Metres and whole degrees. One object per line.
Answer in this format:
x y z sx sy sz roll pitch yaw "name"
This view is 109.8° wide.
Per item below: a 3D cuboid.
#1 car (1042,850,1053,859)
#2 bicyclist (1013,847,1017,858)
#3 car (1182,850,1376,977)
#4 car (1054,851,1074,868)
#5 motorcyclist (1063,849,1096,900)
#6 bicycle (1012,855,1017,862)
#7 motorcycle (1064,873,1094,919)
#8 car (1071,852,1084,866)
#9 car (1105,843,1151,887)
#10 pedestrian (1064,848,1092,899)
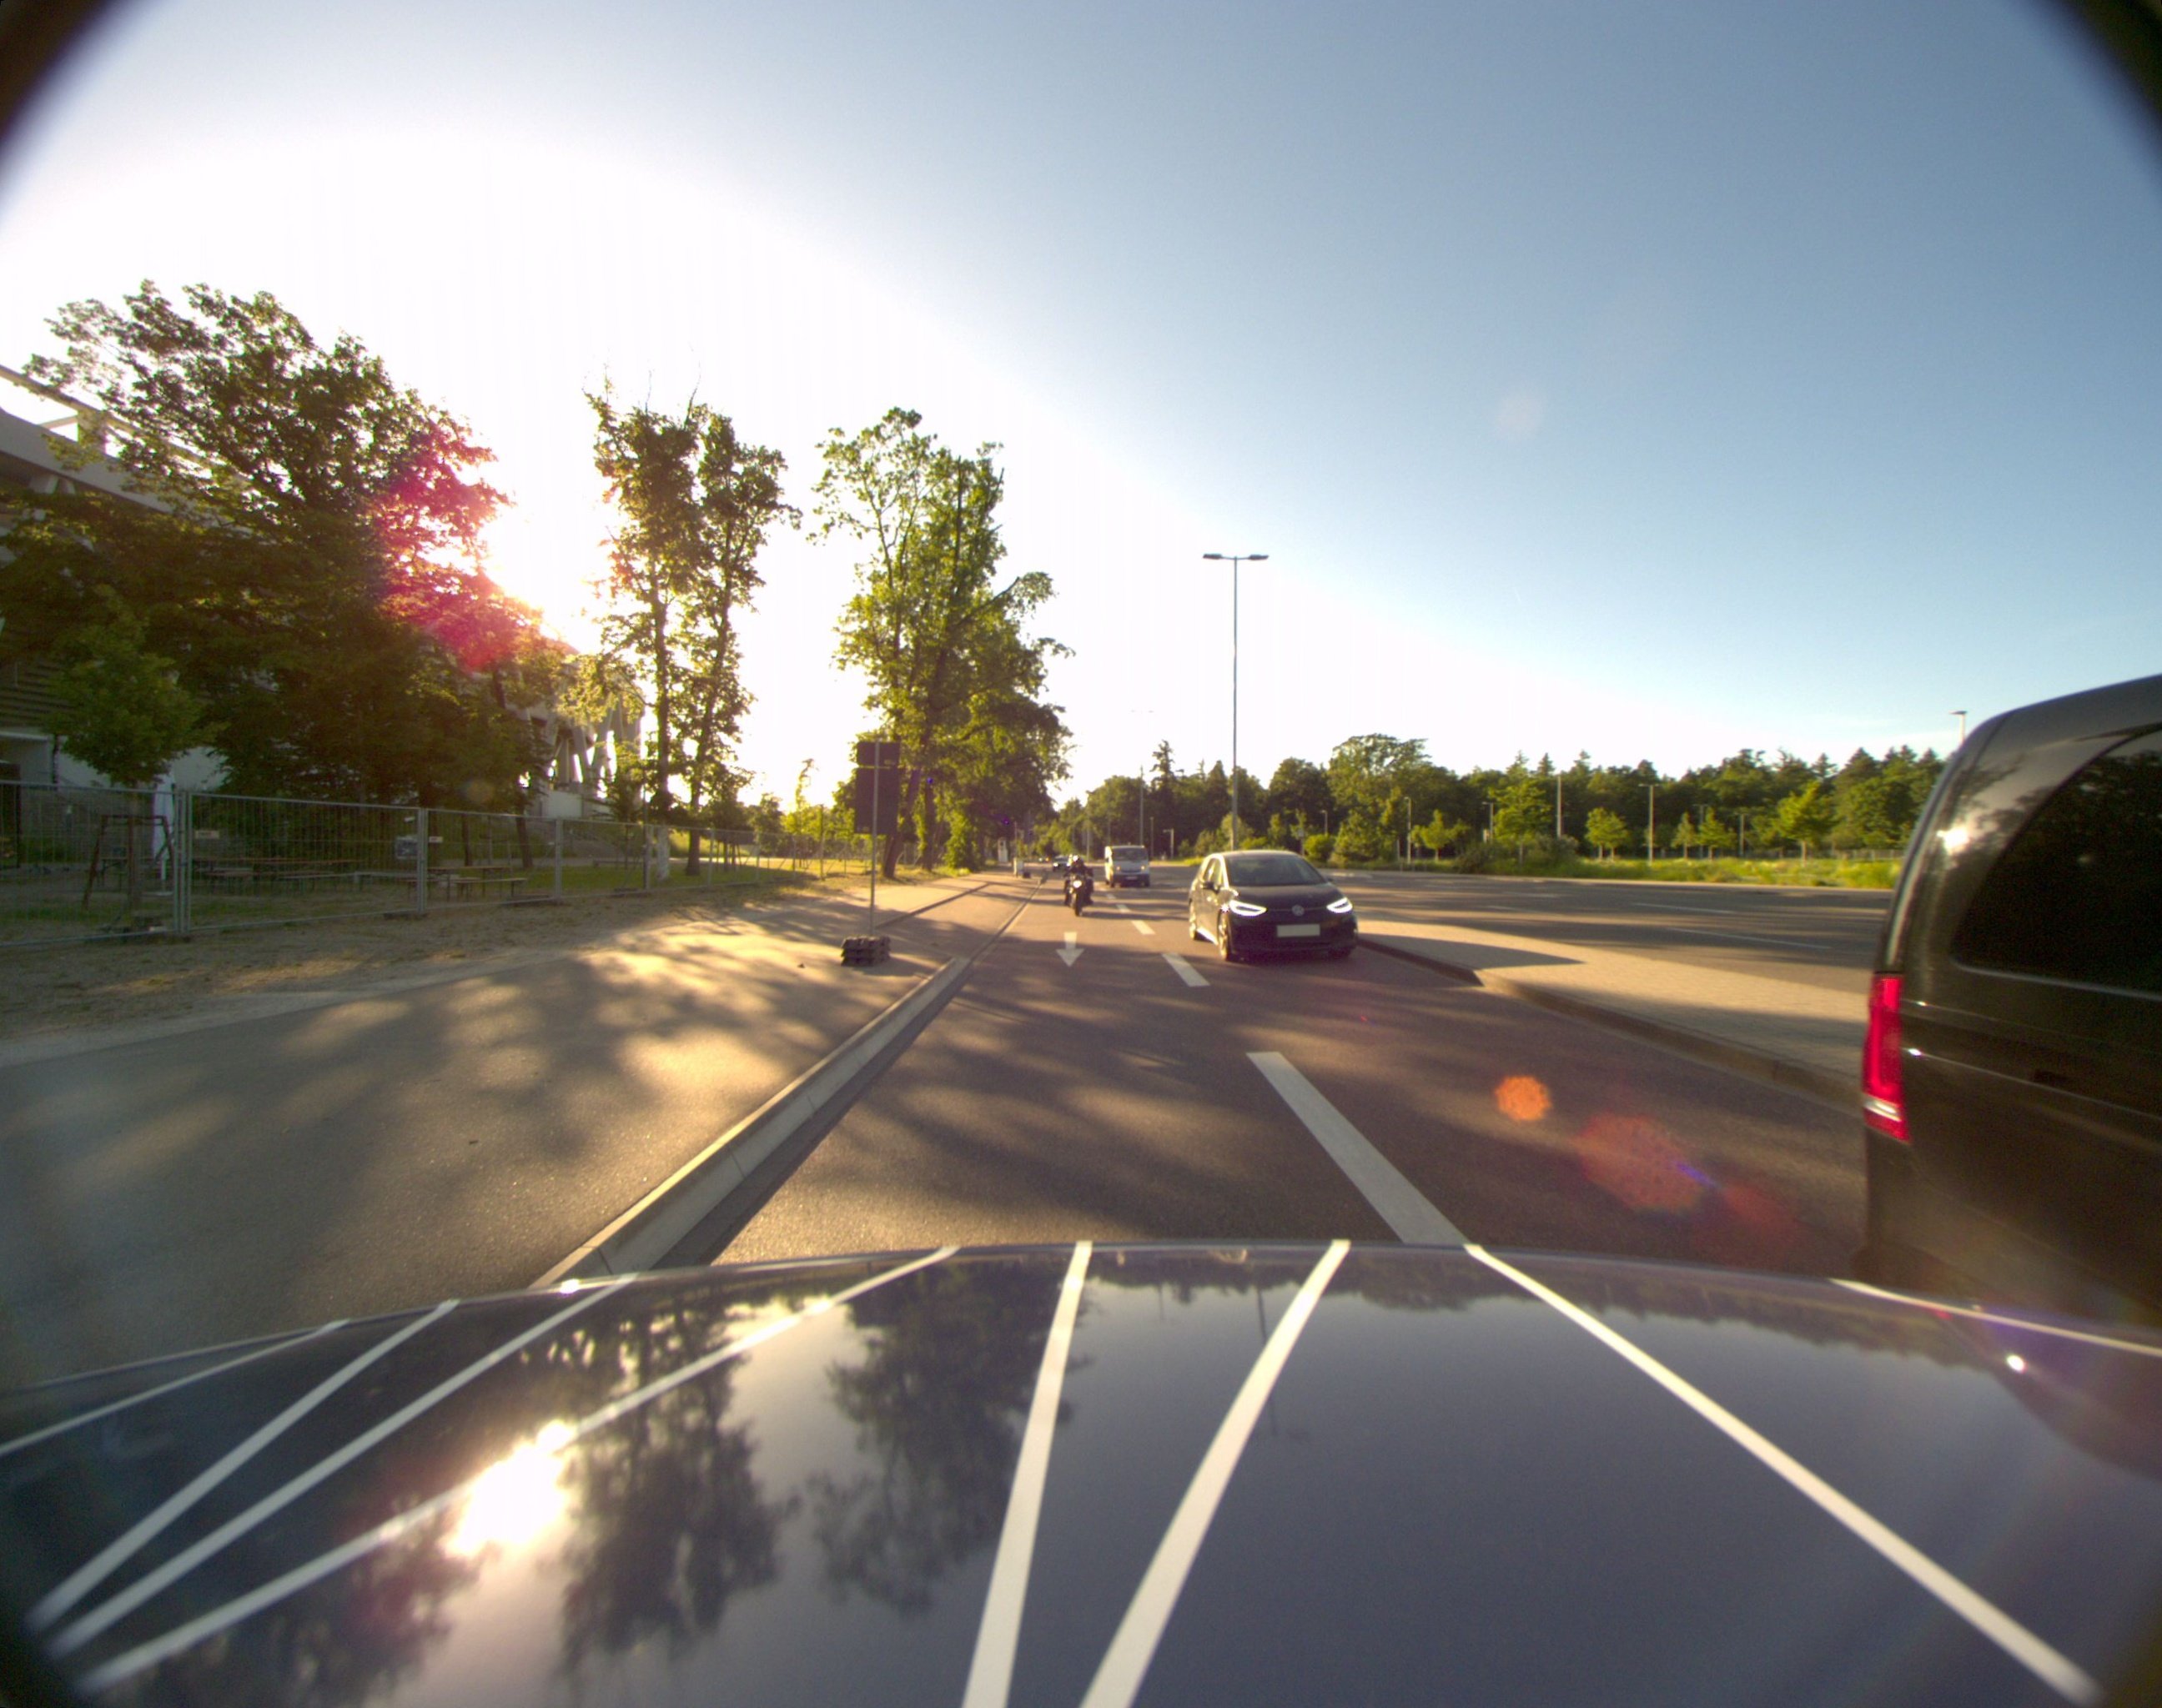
-6.770 0.116 154.281 1.774 1.849 3.999 -2 1 1 "car"
-8.273 -0.216 94.911 0.451 1.412 0.575 0 1 0 "bicyclist"
2.802 0.751 11.721 1.883 1.528 3.999 -2 1 0 "car"
-1.698 0.600 78.560 1.883 1.629 5.048 -2 0 0 "car"
-0.039 0.553 20.873 0.822 1.367 0.476 -2 1 1 "motorcyclist"
-8.277 0.606 94.938 0.481 0.854 1.910 0 0 1 "bicycle"
-0.032 1.109 20.856 0.717 1.058 2.721 -2 0 1 "motorcycle"
-0.461 0.659 102.170 1.675 1.827 3.982 -2 1 1 "car"
2.236 0.495 37.357 1.883 1.951 5.048 -2 0 0 "car"
-0.080 0.537 21.380 0.739 1.387 0.500 -2 1 1 "pedestrian"
